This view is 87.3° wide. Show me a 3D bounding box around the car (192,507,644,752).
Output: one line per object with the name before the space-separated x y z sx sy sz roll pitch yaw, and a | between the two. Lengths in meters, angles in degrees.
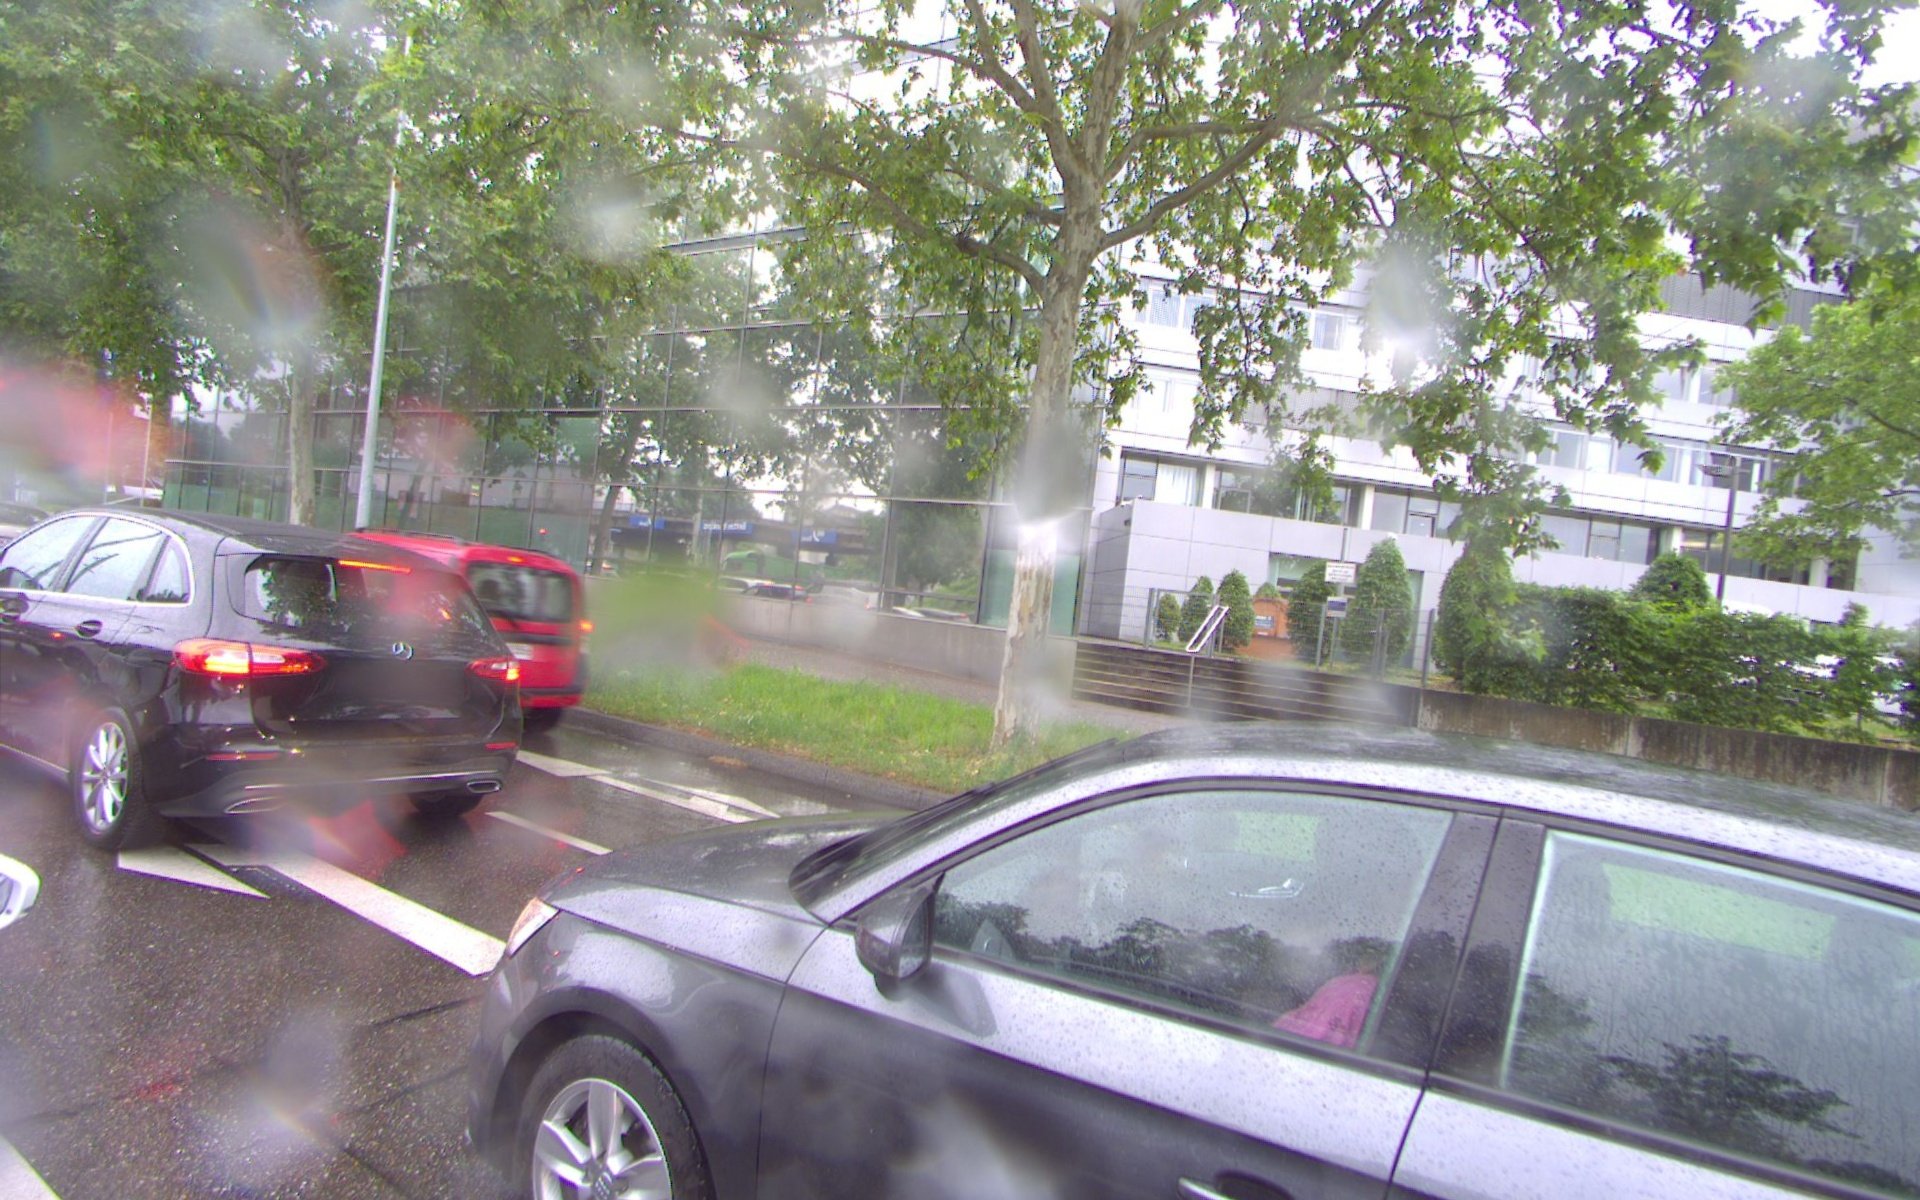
car | -5.175 0.206 9.463 4.201 1.714 1.714 6 -2 31

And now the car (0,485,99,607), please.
car | -15.388 -1.020 15.581 3.933 1.631 1.880 7 -2 32

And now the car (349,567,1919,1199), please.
car | 0.623 0.899 2.154 3.718 1.445 1.679 7 -1 31

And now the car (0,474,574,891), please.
car | -4.340 0.244 5.753 4.022 1.573 1.751 7 -1 31
